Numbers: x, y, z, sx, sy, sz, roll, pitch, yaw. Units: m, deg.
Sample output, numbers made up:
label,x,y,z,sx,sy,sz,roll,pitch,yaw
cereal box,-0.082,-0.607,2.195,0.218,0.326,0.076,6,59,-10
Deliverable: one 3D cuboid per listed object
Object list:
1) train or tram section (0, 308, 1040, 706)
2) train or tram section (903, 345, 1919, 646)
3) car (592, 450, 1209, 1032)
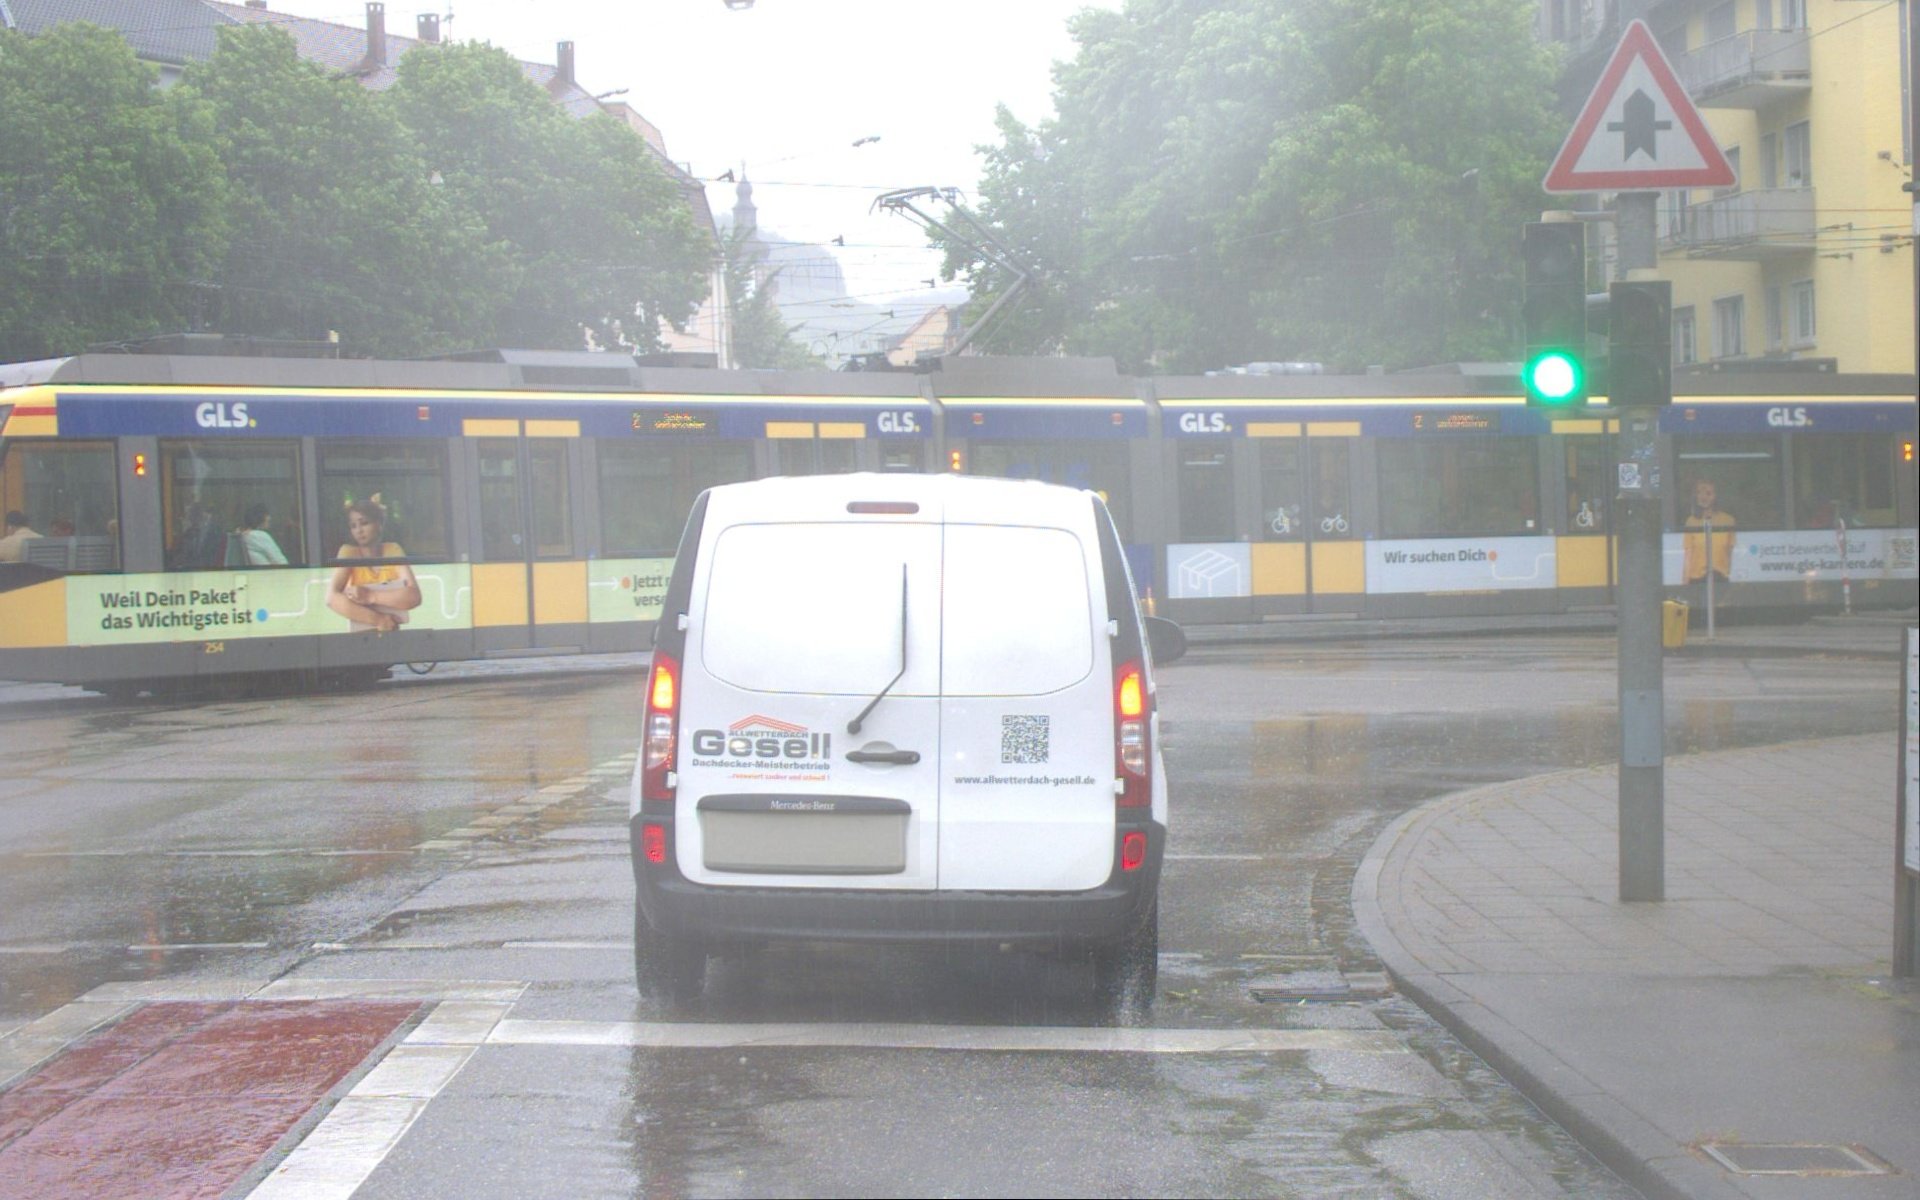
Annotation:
label,x,y,z,sx,sy,sz,roll,pitch,yaw
train or tram section,-5.138,-1.043,36.555,3.114,3.546,14.542,2,3,43
train or tram section,6.670,-1.372,44.511,14.623,3.546,3.117,-1,2,-21
car,-0.244,0.410,12.682,1.903,1.791,4.114,0,1,-2
